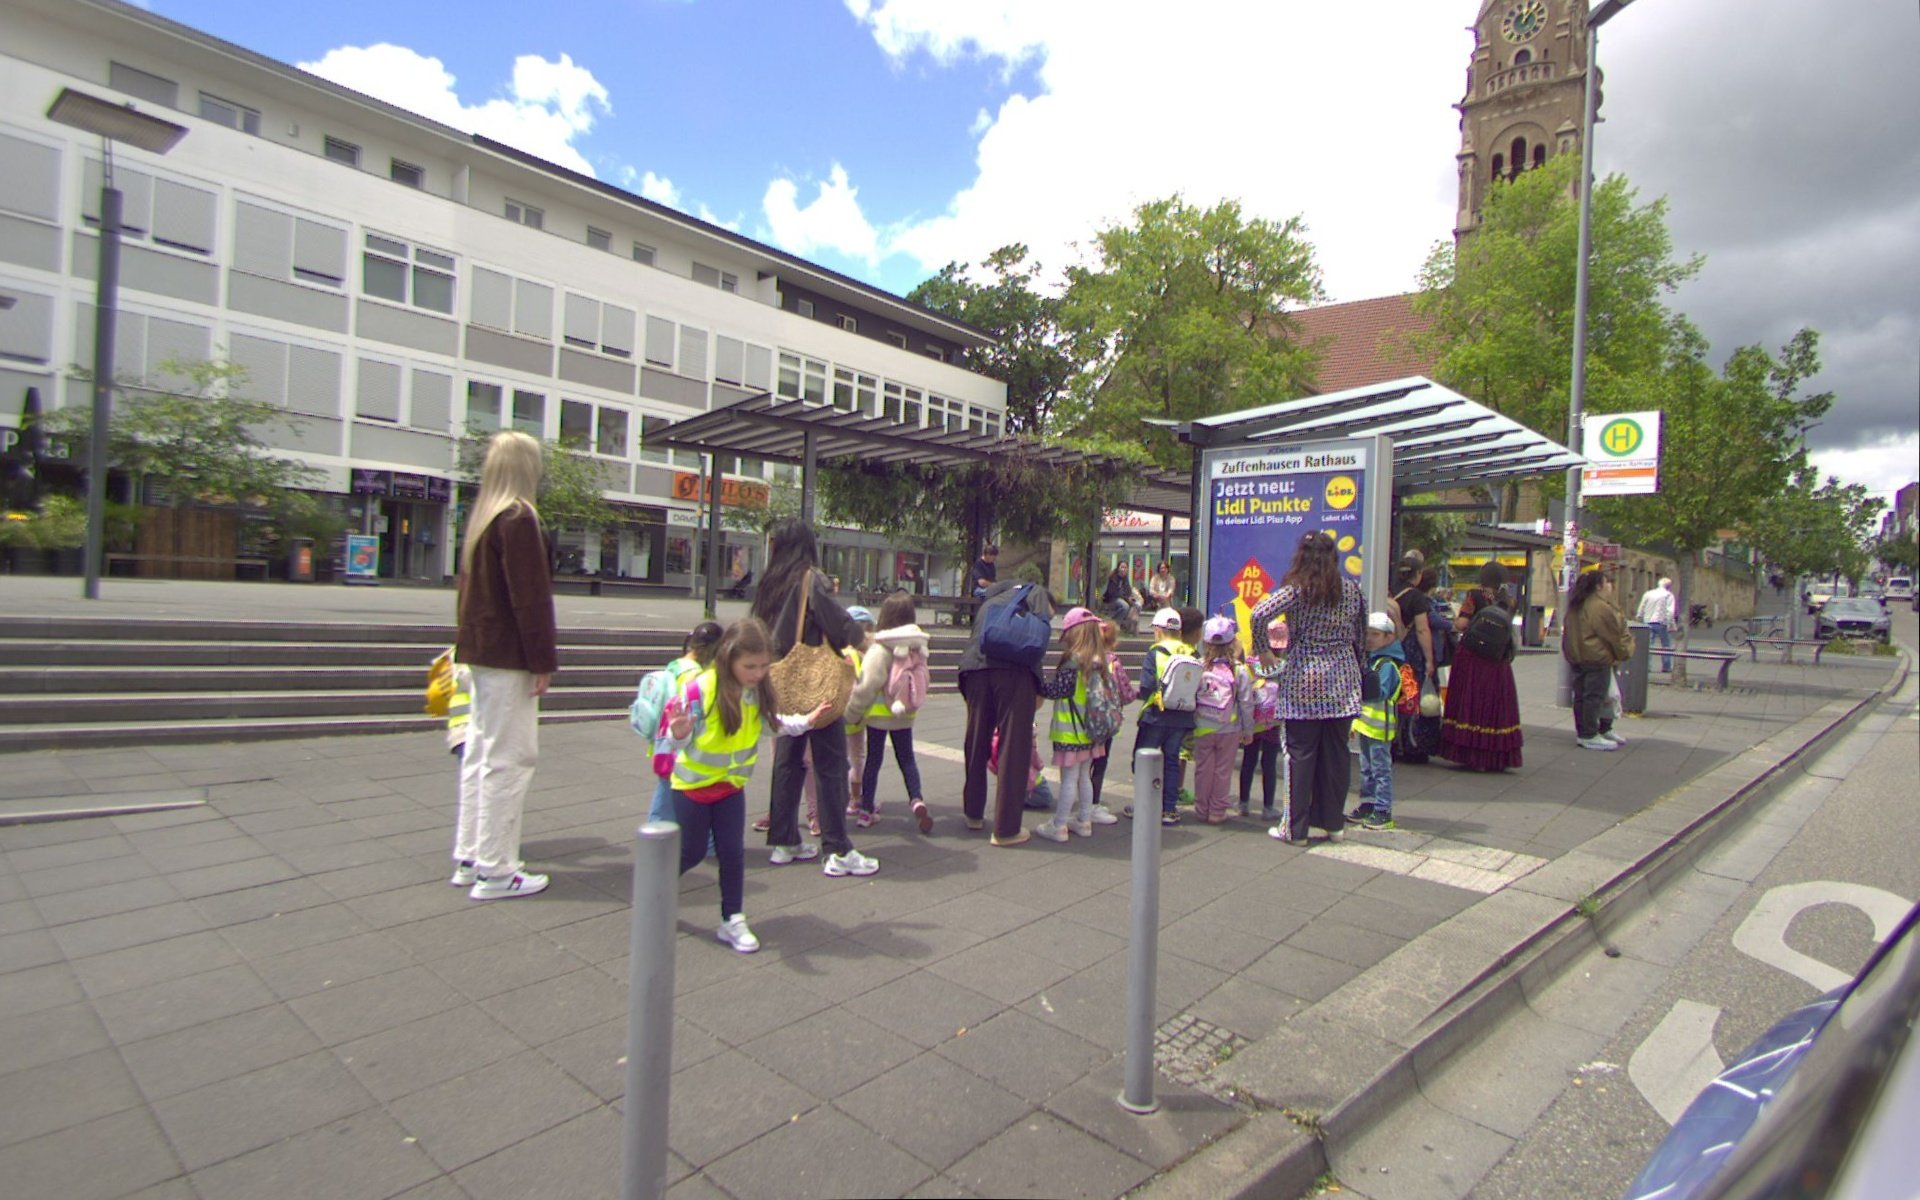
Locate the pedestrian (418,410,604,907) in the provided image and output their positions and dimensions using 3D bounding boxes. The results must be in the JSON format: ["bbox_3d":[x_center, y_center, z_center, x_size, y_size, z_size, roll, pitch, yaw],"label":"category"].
[{"bbox_3d":[-1.807,0.205,4.074,0.538,1.845,0.430,4,2,34],"label":"pedestrian"}]

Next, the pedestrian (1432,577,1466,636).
[{"bbox_3d":[11.488,0.152,23.778,0.565,1.337,0.496,4,-1,-41],"label":"pedestrian"}]

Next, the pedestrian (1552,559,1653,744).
[{"bbox_3d":[5.649,0.431,8.925,0.477,1.568,0.544,2,1,0],"label":"pedestrian"}]

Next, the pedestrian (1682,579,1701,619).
[{"bbox_3d":[31.387,-0.049,43.412,0.497,1.666,0.474,-1,3,-38],"label":"pedestrian"}]

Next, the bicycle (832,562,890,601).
[{"bbox_3d":[-3.723,-0.686,37.917,1.997,1.323,0.685,3,1,13],"label":"bicycle"}]

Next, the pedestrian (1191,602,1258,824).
[{"bbox_3d":[1.453,0.608,5.583,0.260,1.175,0.271,3,2,6],"label":"pedestrian"}]

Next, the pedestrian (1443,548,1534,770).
[{"bbox_3d":[3.952,0.416,7.597,0.495,1.585,0.494,2,1,22],"label":"pedestrian"}]

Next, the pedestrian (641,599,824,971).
[{"bbox_3d":[-0.800,0.604,3.596,0.387,1.186,0.471,3,2,30],"label":"pedestrian"}]

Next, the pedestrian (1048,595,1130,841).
[{"bbox_3d":[0.666,0.582,5.183,0.331,1.180,0.350,3,3,14],"label":"pedestrian"}]

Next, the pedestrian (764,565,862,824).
[{"bbox_3d":[-0.750,0.458,5.157,0.328,1.253,0.324,1,3,-41],"label":"pedestrian"}]

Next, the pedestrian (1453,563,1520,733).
[{"bbox_3d":[4.702,0.414,9.038,0.377,1.460,0.410,4,2,40],"label":"pedestrian"}]

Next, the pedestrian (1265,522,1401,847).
[{"bbox_3d":[1.953,0.428,5.331,0.459,1.639,0.389,2,2,-11],"label":"pedestrian"}]

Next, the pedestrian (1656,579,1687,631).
[{"bbox_3d":[24.924,0.174,35.470,0.757,1.751,0.591,4,2,32],"label":"pedestrian"}]

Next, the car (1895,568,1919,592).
[{"bbox_3d":[75.973,-1.589,80.750,1.745,1.824,4.150,4,4,41],"label":"car"}]

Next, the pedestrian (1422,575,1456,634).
[{"bbox_3d":[11.050,0.104,23.340,0.515,1.337,0.499,4,-1,-40],"label":"pedestrian"}]

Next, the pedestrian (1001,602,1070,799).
[{"bbox_3d":[0.432,0.561,5.801,0.247,1.082,0.251,1,2,-34],"label":"pedestrian"}]

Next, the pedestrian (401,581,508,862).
[{"bbox_3d":[-2.258,0.508,4.508,0.375,1.162,0.441,1,2,-31],"label":"pedestrian"}]

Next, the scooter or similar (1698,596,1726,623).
[{"bbox_3d":[31.897,0.393,42.923,0.550,1.085,0.814,-1,3,-38],"label":"scooter or similar"}]

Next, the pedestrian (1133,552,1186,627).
[{"bbox_3d":[3.507,-0.179,17.846,0.662,1.285,0.772,1,0,-11],"label":"pedestrian"}]

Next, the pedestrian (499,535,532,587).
[{"bbox_3d":[-11.731,-1.026,26.722,0.562,1.340,0.542,1,0,20],"label":"pedestrian"}]

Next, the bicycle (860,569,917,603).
[{"bbox_3d":[-2.750,-0.525,38.952,1.997,1.156,0.685,4,1,13],"label":"bicycle"}]

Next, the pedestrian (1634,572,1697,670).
[{"bbox_3d":[12.606,0.354,18.088,0.700,1.703,0.687,1,1,-34],"label":"pedestrian"}]

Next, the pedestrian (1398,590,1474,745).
[{"bbox_3d":[4.006,0.543,8.506,0.377,1.226,0.624,4,2,39],"label":"pedestrian"}]

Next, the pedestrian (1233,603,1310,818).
[{"bbox_3d":[1.757,0.613,5.734,0.288,1.166,0.298,2,2,1],"label":"pedestrian"}]

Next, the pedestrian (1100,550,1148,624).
[{"bbox_3d":[2.818,-0.224,17.375,0.555,1.243,0.569,1,0,-35],"label":"pedestrian"}]

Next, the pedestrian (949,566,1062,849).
[{"bbox_3d":[0.241,0.499,5.114,0.426,1.319,0.597,3,3,12],"label":"pedestrian"}]

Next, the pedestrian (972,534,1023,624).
[{"bbox_3d":[0.578,-0.314,15.542,0.535,1.340,0.569,1,0,-35],"label":"pedestrian"}]

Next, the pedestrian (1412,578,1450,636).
[{"bbox_3d":[10.666,0.164,22.929,0.532,1.278,0.569,4,-1,-40],"label":"pedestrian"}]

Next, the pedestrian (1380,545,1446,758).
[{"bbox_3d":[3.478,0.379,7.790,0.390,1.585,0.349,2,1,22],"label":"pedestrian"}]

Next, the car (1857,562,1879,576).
[{"bbox_3d":[110.915,-3.812,123.645,1.823,1.710,3.806,3,4,39],"label":"car"}]

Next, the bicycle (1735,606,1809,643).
[{"bbox_3d":[24.921,0.747,31.090,1.723,1.008,0.341,3,2,38],"label":"bicycle"}]

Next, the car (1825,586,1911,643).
[{"bbox_3d":[31.317,0.431,35.014,1.926,1.745,4.509,3,3,39],"label":"car"}]

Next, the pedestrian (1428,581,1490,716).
[{"bbox_3d":[5.053,0.477,10.249,0.349,1.322,0.390,1,3,-42],"label":"pedestrian"}]

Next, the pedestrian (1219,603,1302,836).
[{"bbox_3d":[1.557,0.609,5.259,0.243,1.166,0.276,2,2,-15],"label":"pedestrian"}]

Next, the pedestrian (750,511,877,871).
[{"bbox_3d":[-0.666,0.380,4.572,0.382,1.536,0.391,1,2,-38],"label":"pedestrian"}]

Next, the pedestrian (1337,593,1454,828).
[{"bbox_3d":[2.425,0.593,5.652,0.380,1.241,0.405,1,1,-22],"label":"pedestrian"}]

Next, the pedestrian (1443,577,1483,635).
[{"bbox_3d":[12.053,0.151,24.253,0.575,1.337,0.617,4,-1,-41],"label":"pedestrian"}]

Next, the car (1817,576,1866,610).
[{"bbox_3d":[53.261,-0.479,61.141,1.886,1.870,4.951,3,4,44],"label":"car"}]

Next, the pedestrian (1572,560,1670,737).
[{"bbox_3d":[6.057,0.430,9.283,0.477,1.568,0.515,1,1,-18],"label":"pedestrian"}]

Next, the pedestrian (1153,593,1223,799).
[{"bbox_3d":[1.349,0.555,6.008,0.313,1.166,0.321,3,2,6],"label":"pedestrian"}]

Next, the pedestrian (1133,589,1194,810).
[{"bbox_3d":[1.125,0.539,5.620,0.248,1.188,0.251,3,2,4],"label":"pedestrian"}]

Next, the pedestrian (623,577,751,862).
[{"bbox_3d":[-1.250,0.516,4.605,0.500,1.213,0.392,2,2,-19],"label":"pedestrian"}]

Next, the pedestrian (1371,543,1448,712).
[{"bbox_3d":[4.696,0.266,10.573,0.567,1.701,0.512,1,1,-44],"label":"pedestrian"}]

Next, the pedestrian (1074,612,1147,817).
[{"bbox_3d":[0.826,0.616,5.577,0.246,1.082,0.253,1,2,-28],"label":"pedestrian"}]

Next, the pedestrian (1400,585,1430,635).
[{"bbox_3d":[10.218,0.224,22.733,0.362,1.102,0.477,4,-1,-40],"label":"pedestrian"}]

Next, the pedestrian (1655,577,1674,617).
[{"bbox_3d":[29.782,-0.115,42.770,0.497,1.666,0.474,-1,3,-38],"label":"pedestrian"}]

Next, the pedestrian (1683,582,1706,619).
[{"bbox_3d":[31.067,0.019,42.789,0.573,1.542,0.590,1,1,-36],"label":"pedestrian"}]

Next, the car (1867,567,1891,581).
[{"bbox_3d":[103.280,-2.941,113.771,1.679,1.518,4.095,3,4,39],"label":"car"}]
